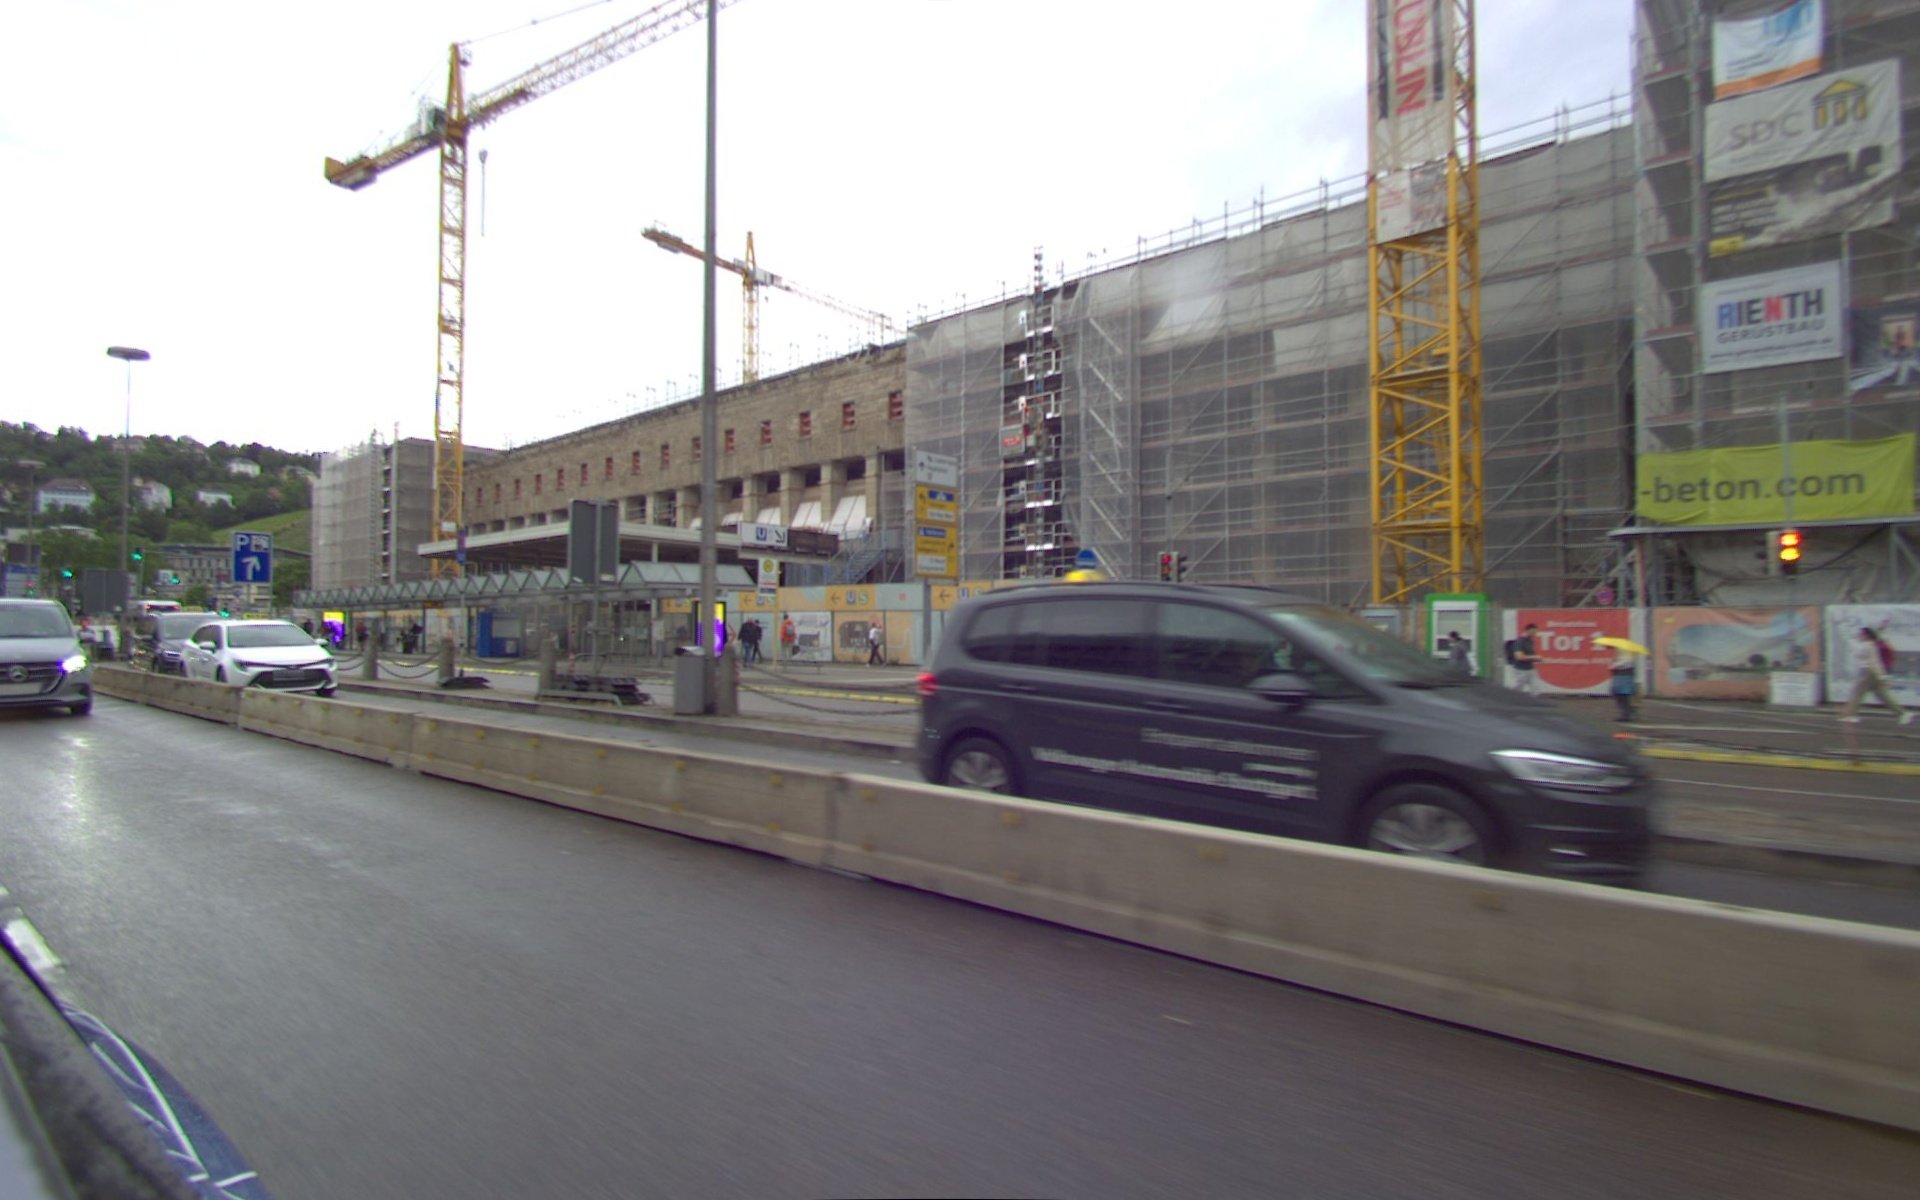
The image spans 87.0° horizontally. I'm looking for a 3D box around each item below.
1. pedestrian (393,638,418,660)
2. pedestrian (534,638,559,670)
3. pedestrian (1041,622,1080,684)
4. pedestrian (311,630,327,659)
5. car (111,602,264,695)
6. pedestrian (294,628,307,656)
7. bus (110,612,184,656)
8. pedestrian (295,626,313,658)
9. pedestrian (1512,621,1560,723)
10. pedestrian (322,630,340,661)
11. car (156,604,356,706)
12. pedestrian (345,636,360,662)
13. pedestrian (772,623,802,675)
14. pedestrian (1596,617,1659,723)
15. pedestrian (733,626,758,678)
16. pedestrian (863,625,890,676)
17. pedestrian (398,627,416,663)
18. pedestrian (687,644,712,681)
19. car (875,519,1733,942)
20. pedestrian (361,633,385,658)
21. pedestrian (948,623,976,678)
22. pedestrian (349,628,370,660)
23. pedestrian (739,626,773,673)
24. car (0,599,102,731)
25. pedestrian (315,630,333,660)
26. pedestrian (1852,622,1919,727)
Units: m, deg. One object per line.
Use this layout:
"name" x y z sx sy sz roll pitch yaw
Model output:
"pedestrian" -31.057 2.739 56.652 1.054 1.167 0.939 -2 -2 42
"pedestrian" -17.880 2.319 43.780 0.805 1.336 0.692 -2 -2 41
"pedestrian" 3.091 1.601 31.025 0.793 1.855 0.869 1 -2 -44
"pedestrian" -40.596 2.801 64.118 0.803 1.804 0.551 -1 -2 34
"car" -17.488 1.054 22.820 4.833 1.876 1.971 -2 -3 43
"pedestrian" -43.840 2.786 67.250 0.690 1.804 0.796 1 -2 -36
"bus" -71.602 2.945 88.891 19.086 3.605 2.876 -1 -3 45
"pedestrian" -41.860 2.677 64.599 0.822 1.974 0.751 -1 -2 40
"pedestrian" 10.703 1.315 18.806 0.703 1.855 0.503 -1 -2 36
"pedestrian" -37.165 2.677 59.822 0.765 1.804 0.862 1 -2 -41
"car" -13.579 0.997 19.411 4.829 1.719 1.973 -1 -3 41
"pedestrian" -38.242 3.067 63.719 0.803 1.643 0.551 -1 -2 34
"pedestrian" -6.765 1.907 39.626 0.863 1.954 0.735 -2 0 38
"pedestrian" 12.100 1.246 18.369 0.835 1.855 0.869 -1 -2 28
"pedestrian" -7.724 1.855 36.464 0.734 1.855 0.704 0 -2 -28
"pedestrian" -3.080 1.836 37.290 0.733 1.855 0.657 1 -2 -45
"pedestrian" -28.798 2.330 52.699 0.549 1.862 0.678 0 -2 -2
"pedestrian" -11.116 2.650 43.219 0.700 1.559 0.795 -2 -2 37
"car" 1.805 0.579 6.271 4.638 1.666 1.973 -1 -3 41
"pedestrian" -34.676 2.671 59.774 0.830 1.443 1.044 -2 -2 41
"pedestrian" 0.068 1.697 34.416 0.713 1.855 0.612 1 -2 -45
"pedestrian" -34.607 2.543 58.293 0.774 1.804 0.671 -1 -2 8
"pedestrian" -8.310 1.999 41.225 1.045 1.855 0.848 -2 0 42
"car" -15.803 0.990 16.494 5.247 1.919 1.973 -1 -1 40
"pedestrian" -39.460 2.773 62.810 0.746 1.804 0.717 -1 -2 36
"pedestrian" 15.510 1.222 16.836 0.835 1.698 0.677 -1 -2 28
